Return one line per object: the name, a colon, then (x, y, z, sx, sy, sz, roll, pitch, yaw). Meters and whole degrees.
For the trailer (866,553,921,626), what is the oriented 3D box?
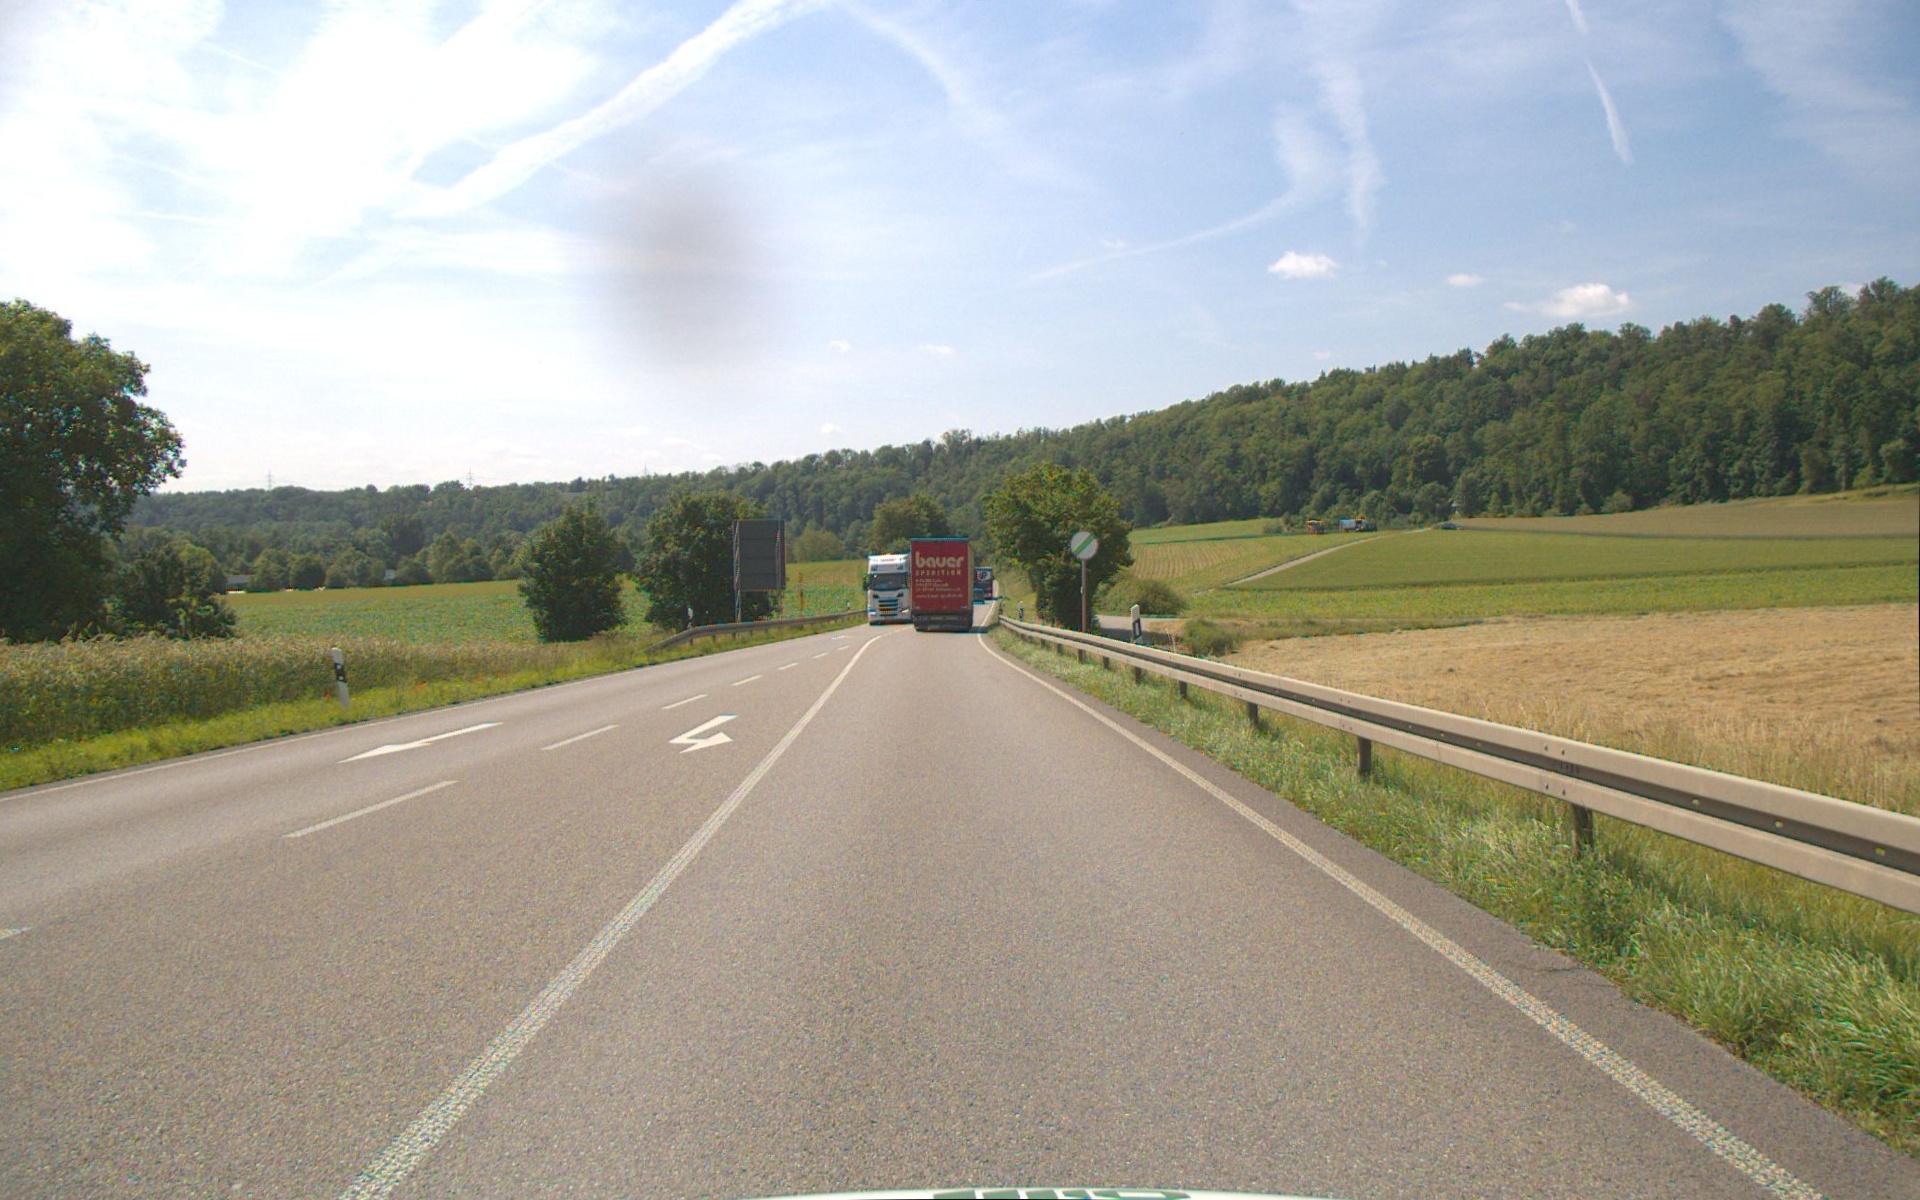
trailer: (-4.057, -0.597, 103.987, 2.455, 4.191, 13.900, -2, 0, 1)

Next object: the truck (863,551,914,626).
truck: (-4.168, -0.644, 97.561, 2.478, 4.191, 6.022, -2, 0, 1)

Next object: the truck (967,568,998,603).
truck: (2.883, -1.844, 216.852, 3.825, 4.446, 13.293, 2, 0, 0)

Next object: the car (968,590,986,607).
car: (1.868, -0.143, 186.167, 1.953, 1.841, 4.000, 2, 0, 0)

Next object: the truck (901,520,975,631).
truck: (-0.952, -1.114, 77.440, 3.107, 4.706, 13.543, -1, 0, 0)
